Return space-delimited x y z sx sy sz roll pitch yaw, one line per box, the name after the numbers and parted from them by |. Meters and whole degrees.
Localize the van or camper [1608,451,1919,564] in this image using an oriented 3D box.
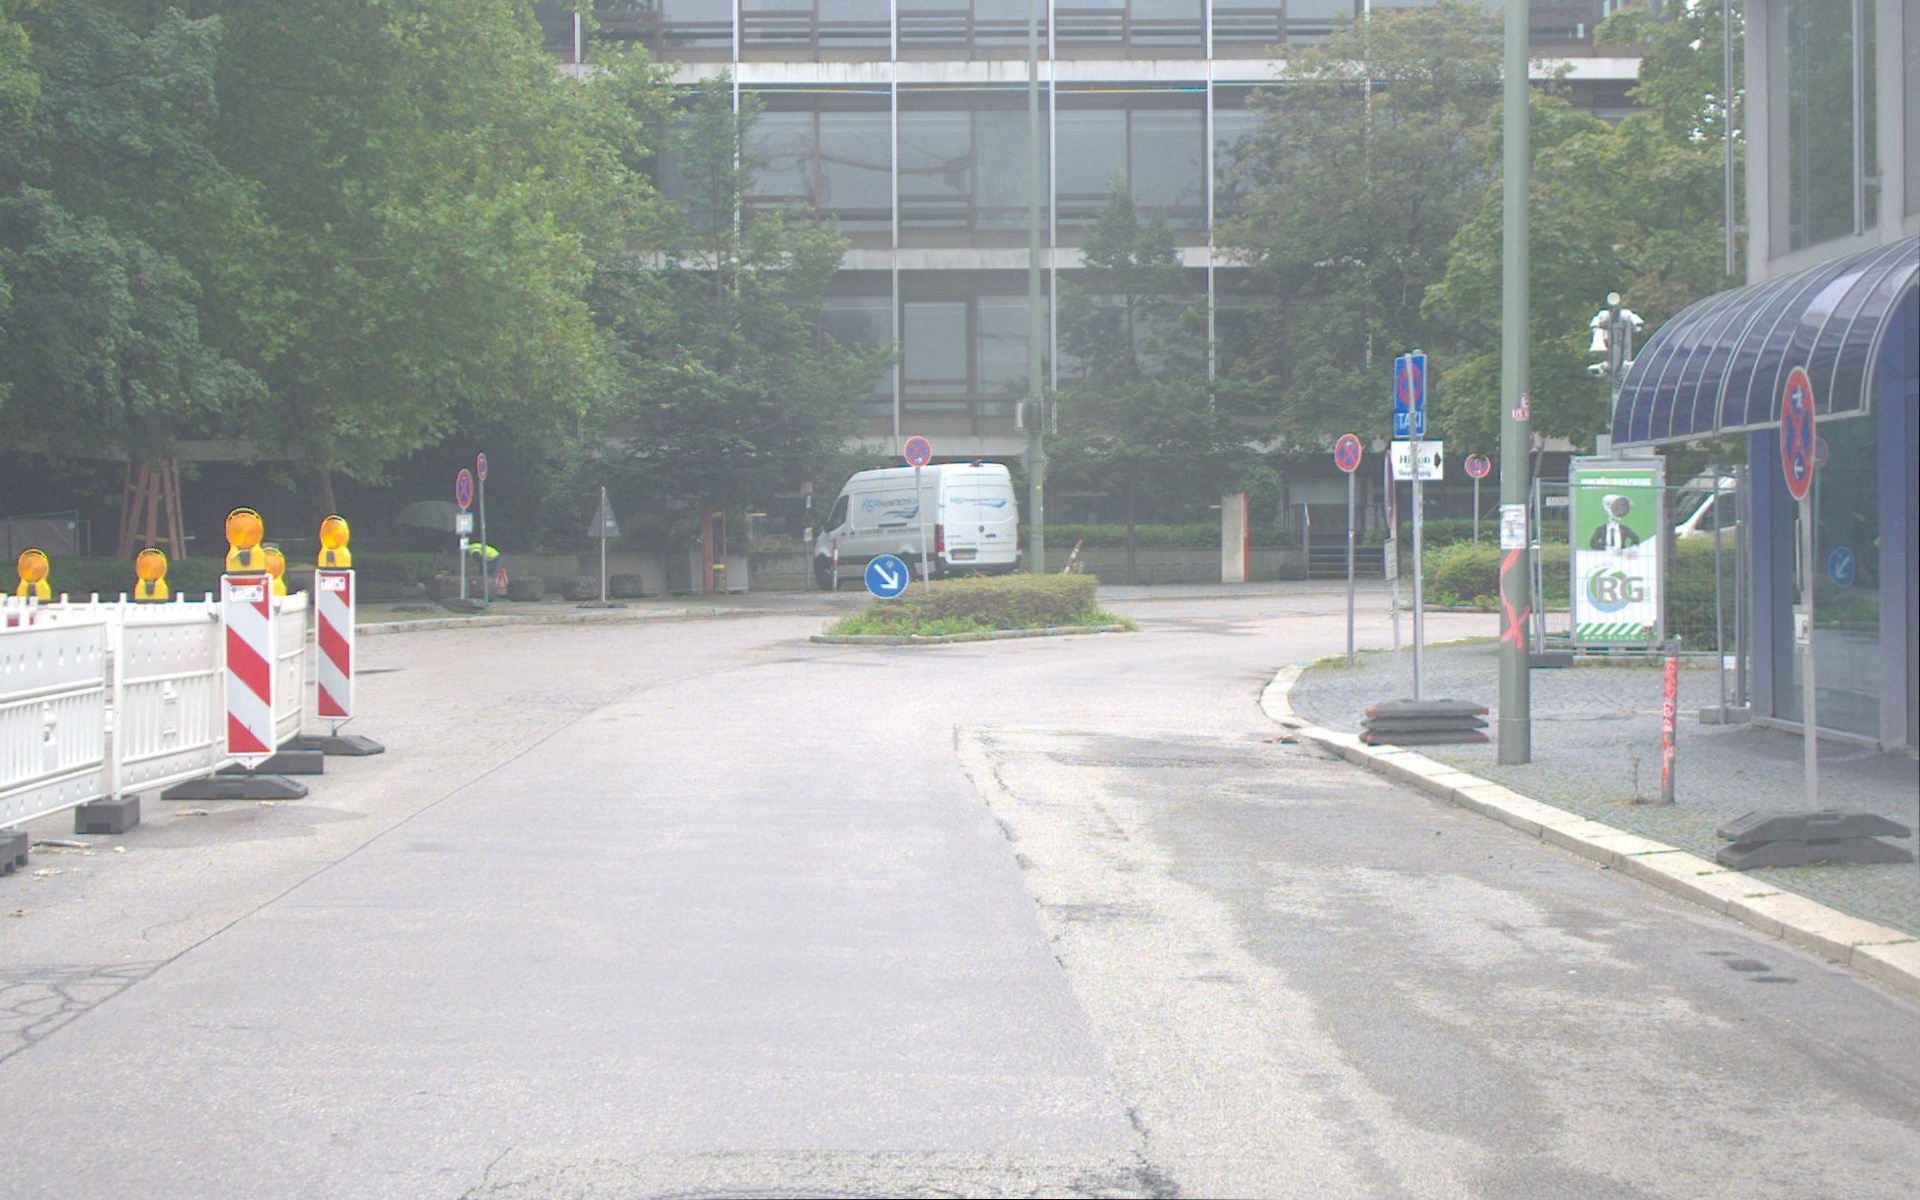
16.798 -1.920 70.928 6.396 2.273 2.256 -1 1 -15 | van or camper

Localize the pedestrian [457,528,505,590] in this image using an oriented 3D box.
-9.951 -0.854 71.459 0.926 1.273 0.542 0 1 1 | pedestrian

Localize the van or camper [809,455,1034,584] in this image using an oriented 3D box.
-0.902 -1.676 73.700 2.155 2.572 6.540 0 0 -26 | van or camper

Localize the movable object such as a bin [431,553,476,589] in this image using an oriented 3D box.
-10.518 -0.605 71.421 0.834 0.751 0.572 0 1 2 | movable object such as a bin
